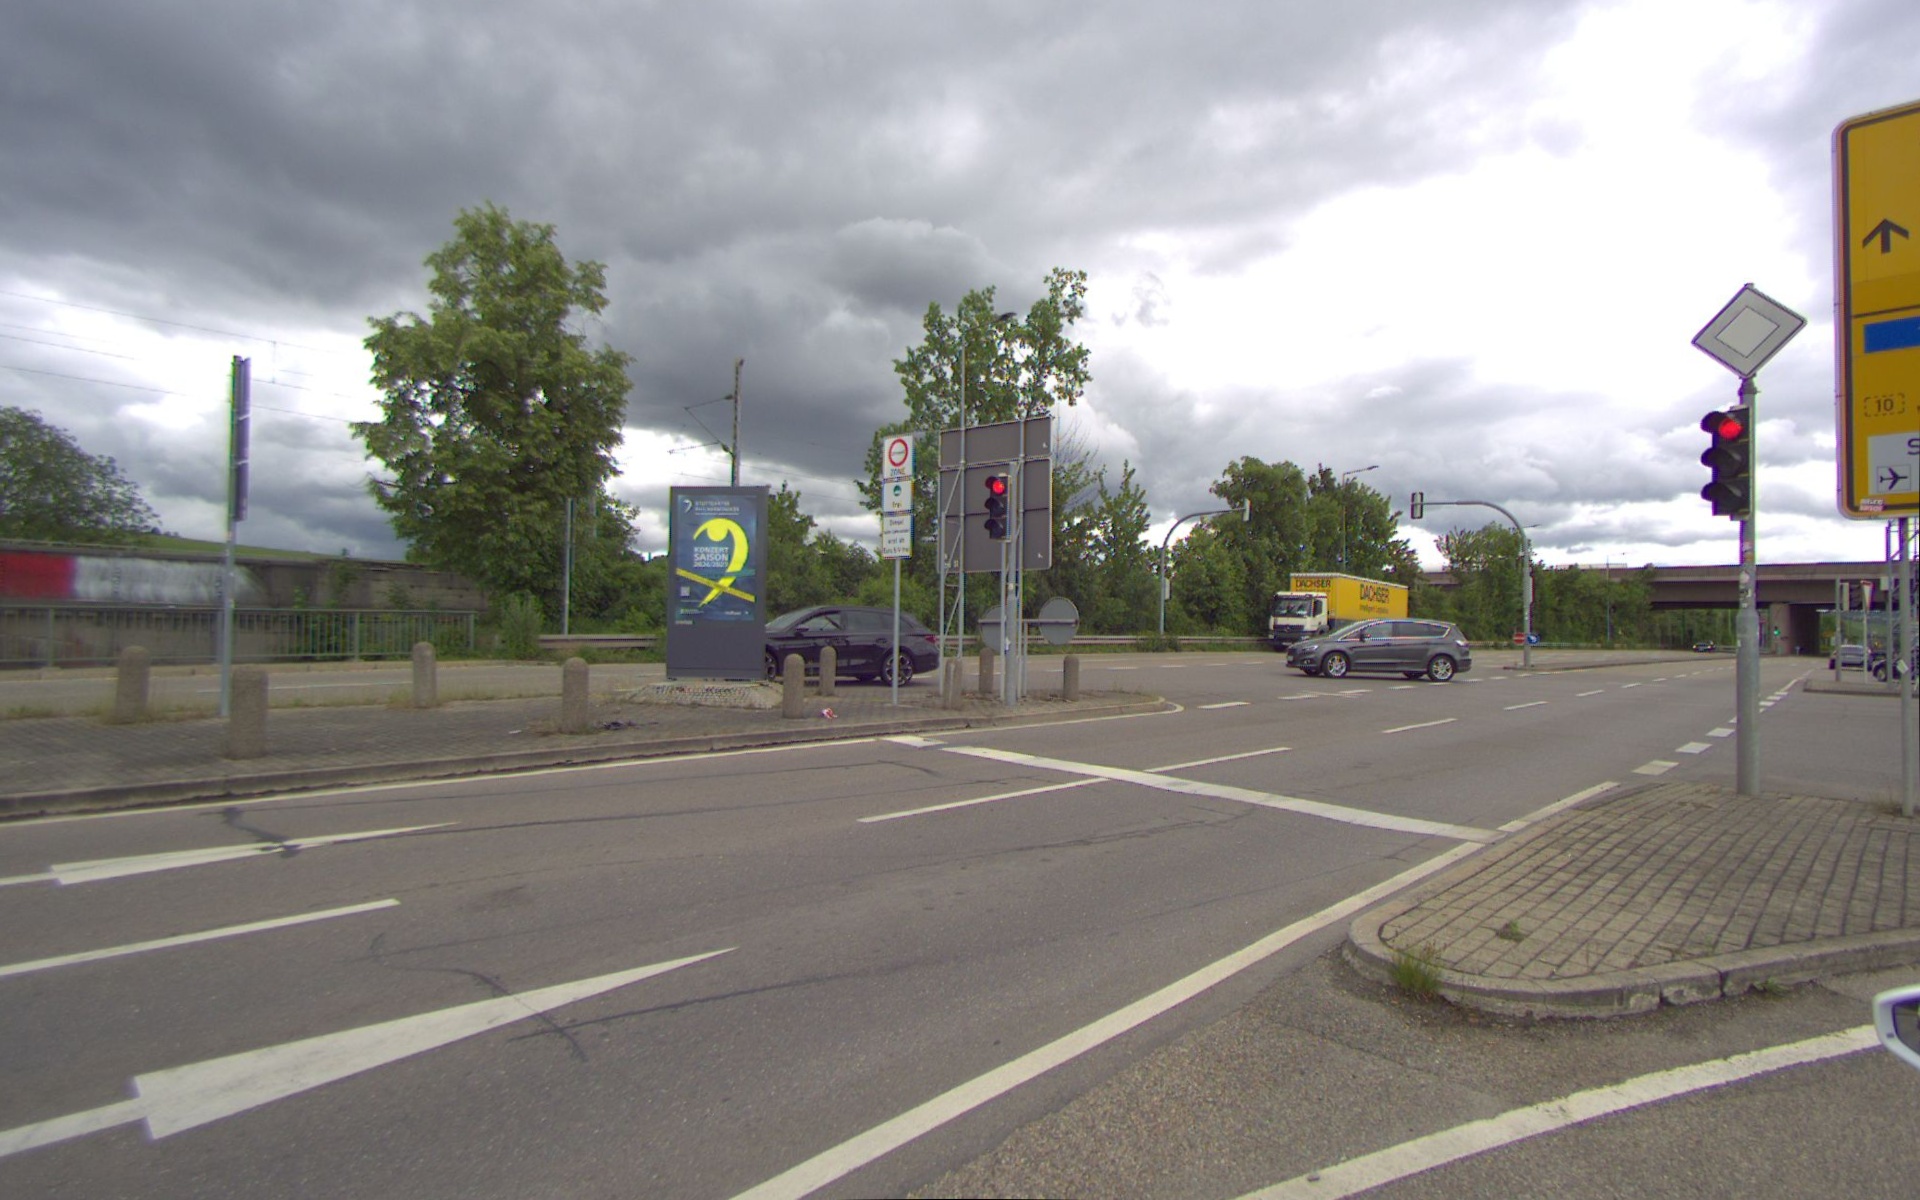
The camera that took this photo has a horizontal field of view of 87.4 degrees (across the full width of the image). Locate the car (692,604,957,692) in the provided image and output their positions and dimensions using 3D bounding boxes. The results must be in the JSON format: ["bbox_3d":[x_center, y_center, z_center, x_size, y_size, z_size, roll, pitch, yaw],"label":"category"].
[{"bbox_3d":[-2.525,0.835,18.807,4.558,1.477,1.943,1,0,-25],"label":"car"}]

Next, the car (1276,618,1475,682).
[{"bbox_3d":[11.176,1.326,27.279,4.600,1.592,1.956,1,0,2],"label":"car"}]

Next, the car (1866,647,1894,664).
[{"bbox_3d":[93.111,5.611,101.657,1.973,1.483,4.086,2,-2,44],"label":"car"}]

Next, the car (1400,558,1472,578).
[{"bbox_3d":[82.482,-5.570,174.405,3.455,3.071,11.051,1,3,-34],"label":"car"}]

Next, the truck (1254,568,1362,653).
[{"bbox_3d":[18.323,0.552,52.680,2.840,4.139,6.450,3,1,43],"label":"truck"}]

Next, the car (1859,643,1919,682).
[{"bbox_3d":[38.232,2.508,39.647,1.878,1.440,3.994,3,-1,-1],"label":"car"}]

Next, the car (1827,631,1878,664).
[{"bbox_3d":[53.022,2.797,59.653,4.715,1.684,1.890,1,2,-44],"label":"car"}]

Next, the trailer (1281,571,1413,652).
[{"bbox_3d":[22.074,0.682,56.776,2.840,4.139,11.362,3,1,43],"label":"trailer"}]

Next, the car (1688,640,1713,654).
[{"bbox_3d":[89.898,5.735,121.941,3.842,1.402,1.844,0,3,-44],"label":"car"}]
